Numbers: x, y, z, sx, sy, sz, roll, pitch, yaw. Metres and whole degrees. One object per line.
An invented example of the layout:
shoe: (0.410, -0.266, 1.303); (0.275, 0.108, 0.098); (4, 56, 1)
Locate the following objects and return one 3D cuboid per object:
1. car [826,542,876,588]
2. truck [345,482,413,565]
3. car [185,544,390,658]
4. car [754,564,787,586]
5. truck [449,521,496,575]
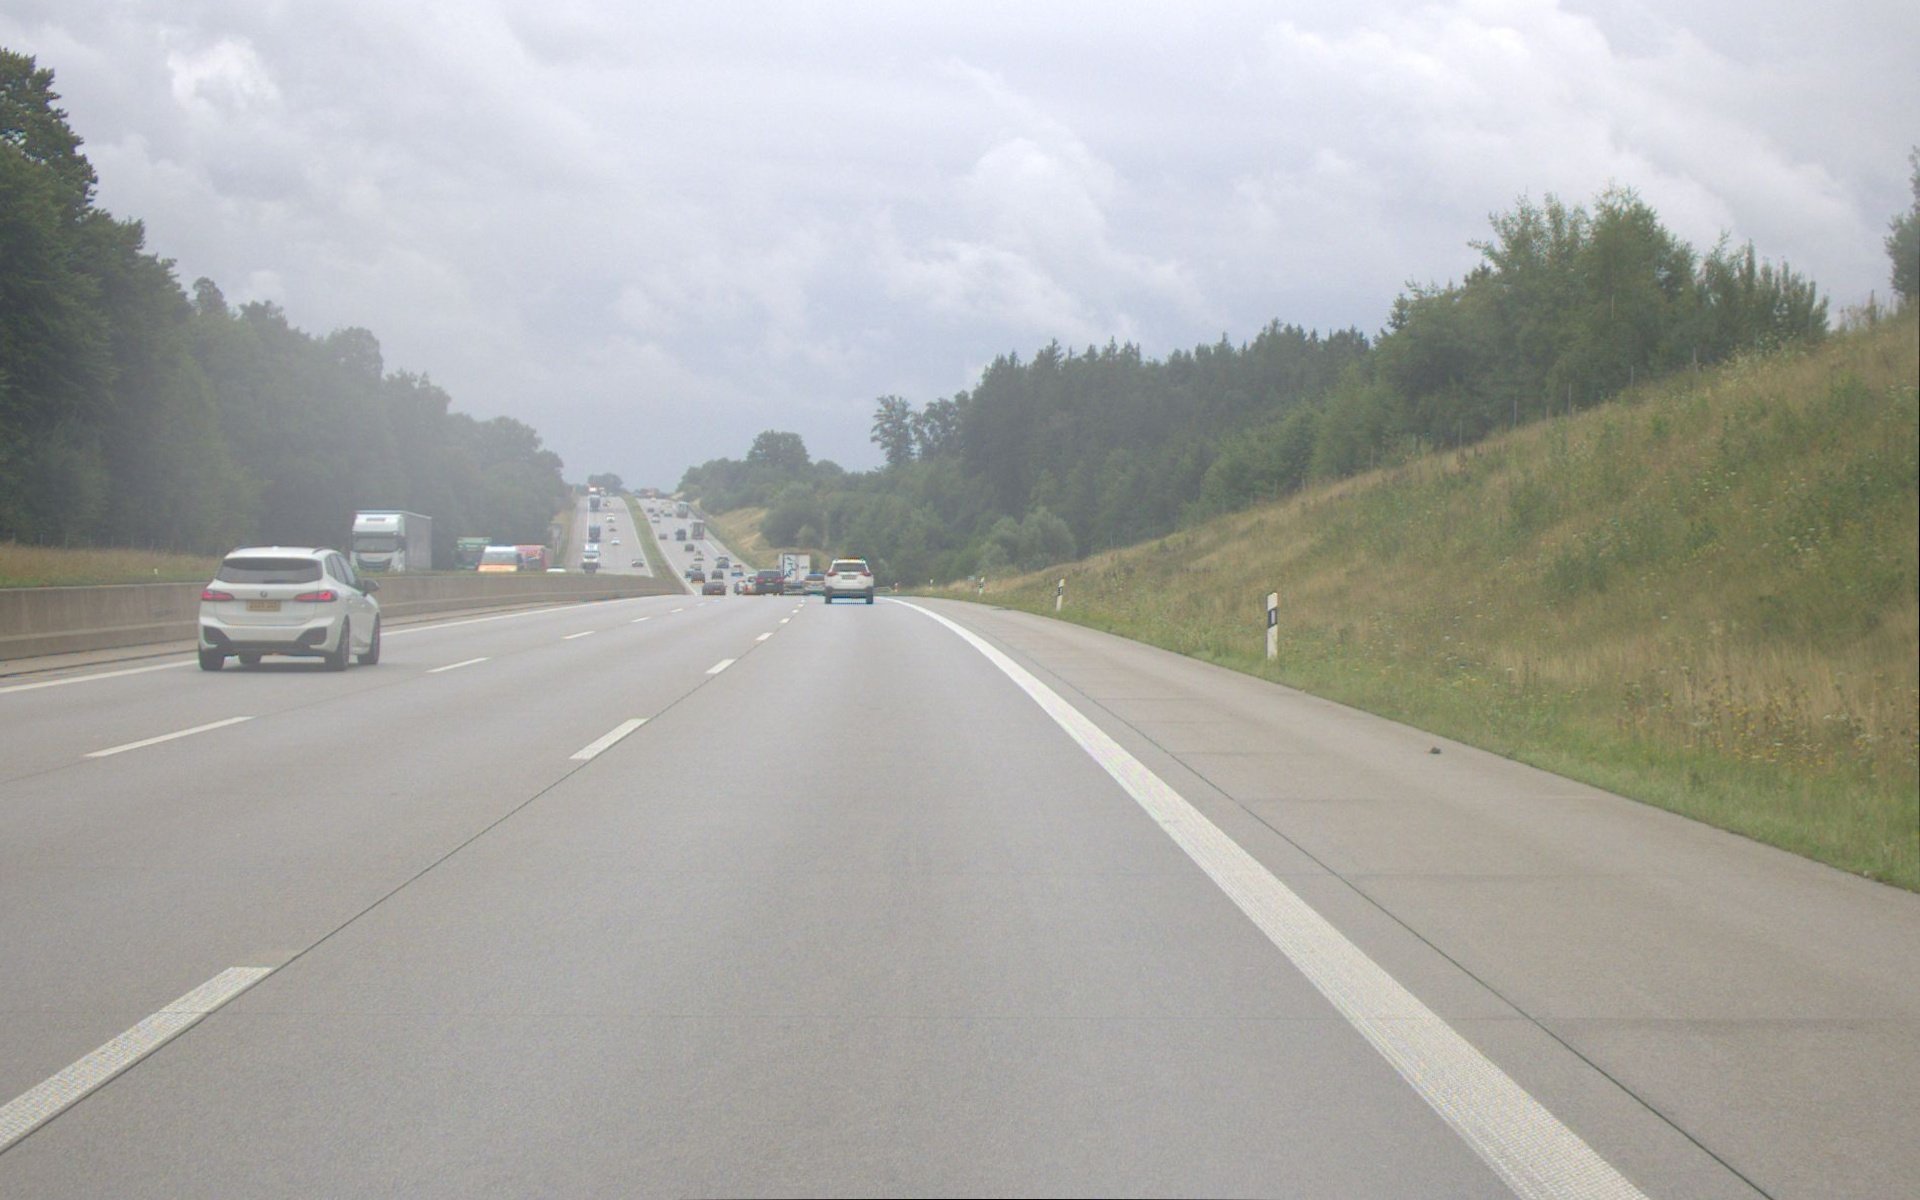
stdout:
car: (-4.102, -1.336, 128.823); (1.825, 1.650, 3.985); (1, 1, -3)
truck: (-29.439, -3.853, 174.441); (2.508, 4.111, 6.462); (1, 1, -2)
car: (-8.534, -0.009, 43.965); (1.947, 1.351, 4.260); (1, 1, -3)
car: (-12.417, -1.631, 225.072); (1.935, 1.370, 4.595); (1, 1, -5)
truck: (-34.616, -3.700, 244.329); (2.780, 3.727, 5.661); (1, 1, -3)
